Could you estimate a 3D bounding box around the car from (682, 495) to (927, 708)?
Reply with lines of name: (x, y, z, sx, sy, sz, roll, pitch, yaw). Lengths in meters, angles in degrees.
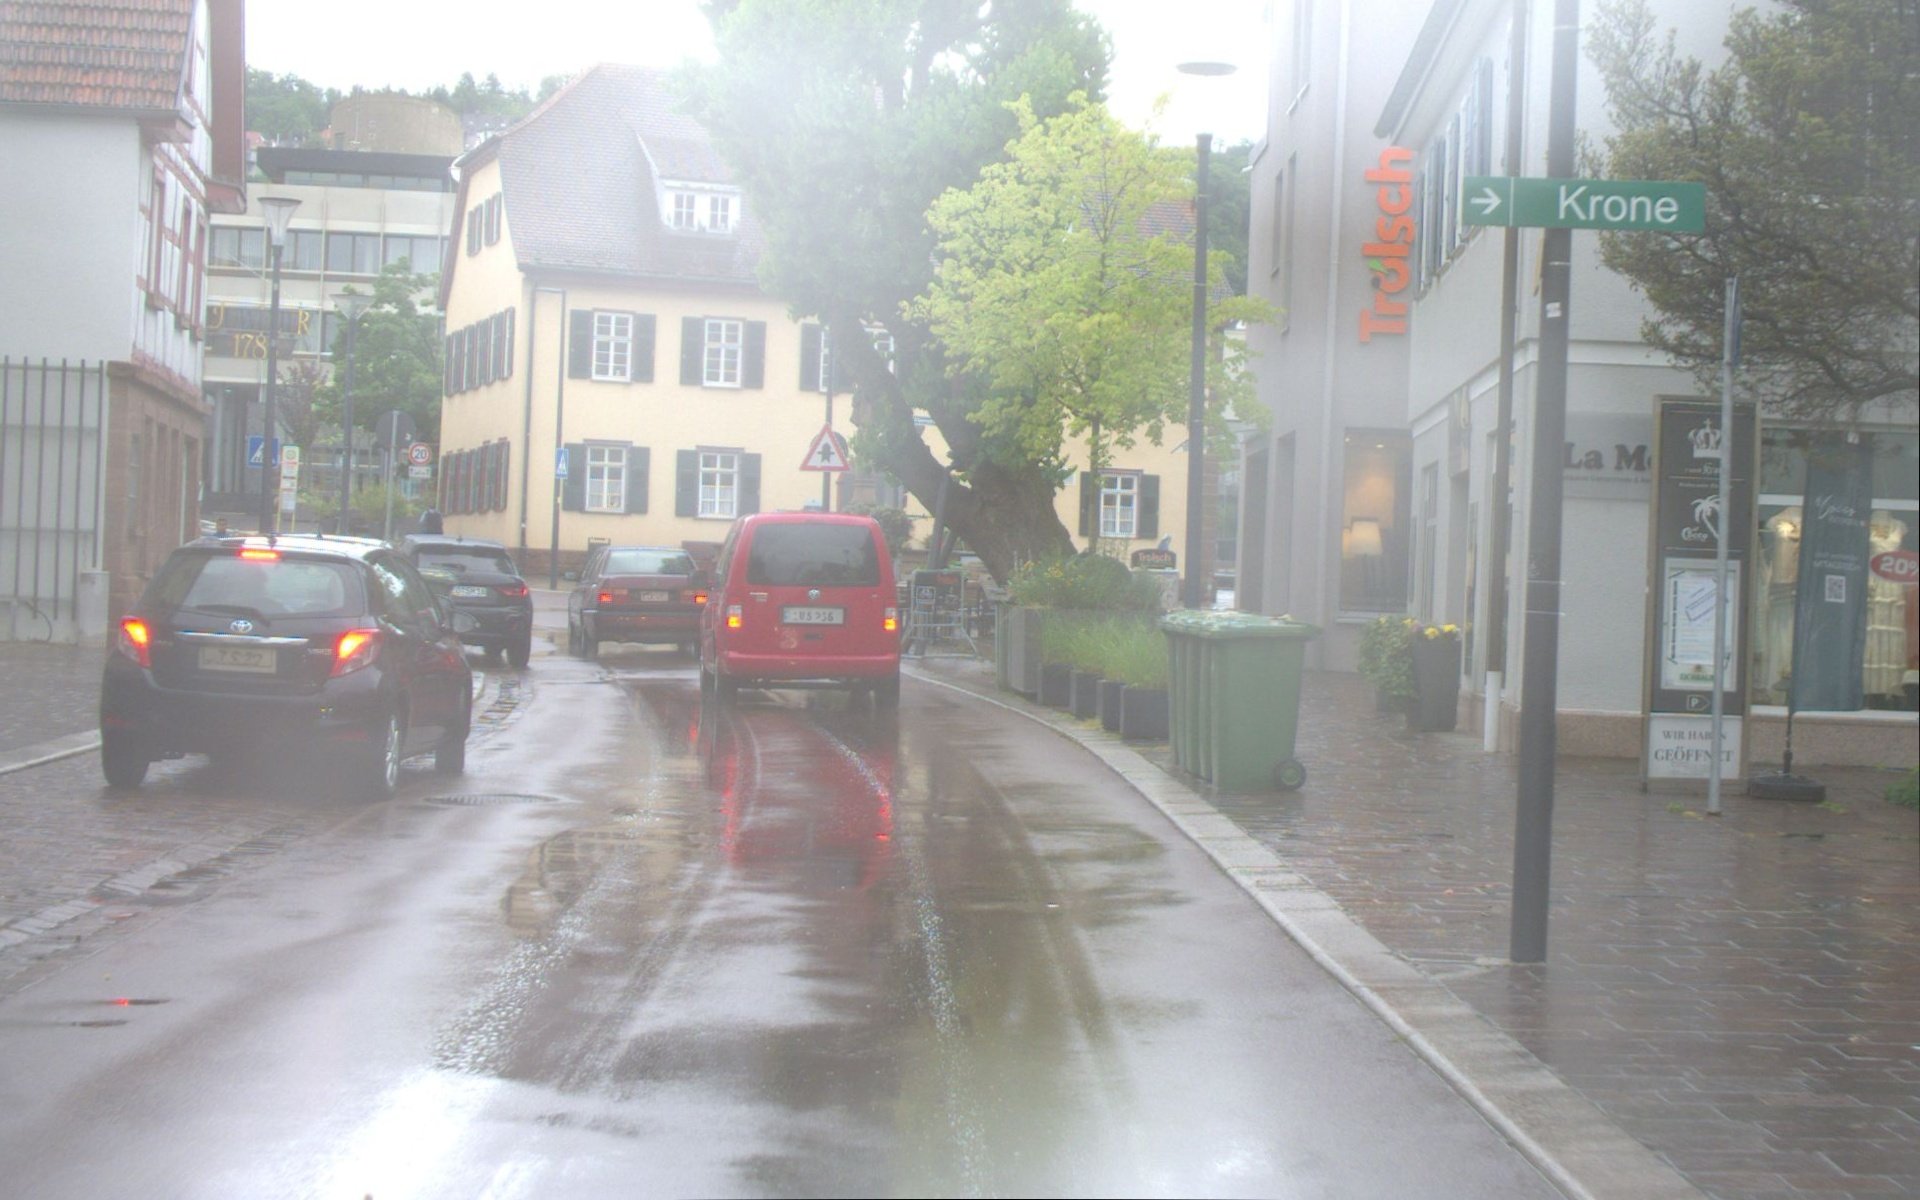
car: (-1.574, -0.039, 33.334, 1.893, 1.805, 4.001, 4, 2, -8)

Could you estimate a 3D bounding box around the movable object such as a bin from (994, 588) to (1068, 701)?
movable object such as a bin: (0.739, 0.467, 36.081, 0.631, 1.146, 0.580, 3, -1, -8)

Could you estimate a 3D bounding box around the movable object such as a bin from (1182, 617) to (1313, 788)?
movable object such as a bin: (1.872, 0.664, 22.427, 0.754, 1.060, 0.600, 3, -1, 0)

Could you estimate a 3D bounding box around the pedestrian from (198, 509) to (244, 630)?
pedestrian: (-10.649, -0.433, 49.559, 0.518, 1.705, 0.578, 3, -1, -8)

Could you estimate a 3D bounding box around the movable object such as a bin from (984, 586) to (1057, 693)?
movable object such as a bin: (0.645, 0.423, 36.687, 0.631, 1.100, 0.580, 3, -1, -8)

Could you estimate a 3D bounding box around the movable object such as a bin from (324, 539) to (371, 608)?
movable object such as a bin: (-10.098, -0.436, 56.670, 0.714, 1.102, 0.600, 3, -1, -11)

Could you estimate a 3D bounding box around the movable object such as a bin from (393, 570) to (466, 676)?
movable object such as a bin: (-5.768, 0.253, 37.390, 0.725, 1.106, 0.597, 3, -1, -8)

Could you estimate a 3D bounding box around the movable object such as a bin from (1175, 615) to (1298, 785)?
movable object such as a bin: (1.846, 0.664, 22.997, 0.729, 1.087, 0.521, 3, -1, 0)

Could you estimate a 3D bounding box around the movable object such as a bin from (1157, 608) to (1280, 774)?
movable object such as a bin: (1.771, 0.617, 23.613, 0.735, 1.094, 0.611, 3, 0, -1)

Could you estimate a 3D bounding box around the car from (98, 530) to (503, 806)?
car: (-3.969, 0.345, 21.275, 1.692, 1.438, 3.885, 3, 2, 0)

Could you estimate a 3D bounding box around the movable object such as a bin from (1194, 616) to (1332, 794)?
movable object such as a bin: (1.913, 0.659, 21.792, 0.768, 1.076, 0.599, 3, -1, 0)

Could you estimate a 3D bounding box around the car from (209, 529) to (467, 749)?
car: (-4.826, 0.252, 27.099, 1.756, 1.469, 3.945, 3, 1, -8)

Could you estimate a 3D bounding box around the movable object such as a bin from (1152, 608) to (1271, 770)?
movable object such as a bin: (1.768, 0.620, 24.217, 0.735, 1.094, 0.611, 3, -1, -1)

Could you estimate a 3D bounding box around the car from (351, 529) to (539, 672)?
car: (-6.238, -0.031, 41.363, 1.787, 1.490, 4.002, 3, 1, -14)

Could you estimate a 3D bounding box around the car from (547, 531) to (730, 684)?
car: (-4.202, 0.102, 44.440, 1.993, 1.793, 4.001, 3, -1, -9)

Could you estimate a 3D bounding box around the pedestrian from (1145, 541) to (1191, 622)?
pedestrian: (4.860, -0.429, 80.426, 0.898, 1.836, 0.766, 3, -1, -2)
